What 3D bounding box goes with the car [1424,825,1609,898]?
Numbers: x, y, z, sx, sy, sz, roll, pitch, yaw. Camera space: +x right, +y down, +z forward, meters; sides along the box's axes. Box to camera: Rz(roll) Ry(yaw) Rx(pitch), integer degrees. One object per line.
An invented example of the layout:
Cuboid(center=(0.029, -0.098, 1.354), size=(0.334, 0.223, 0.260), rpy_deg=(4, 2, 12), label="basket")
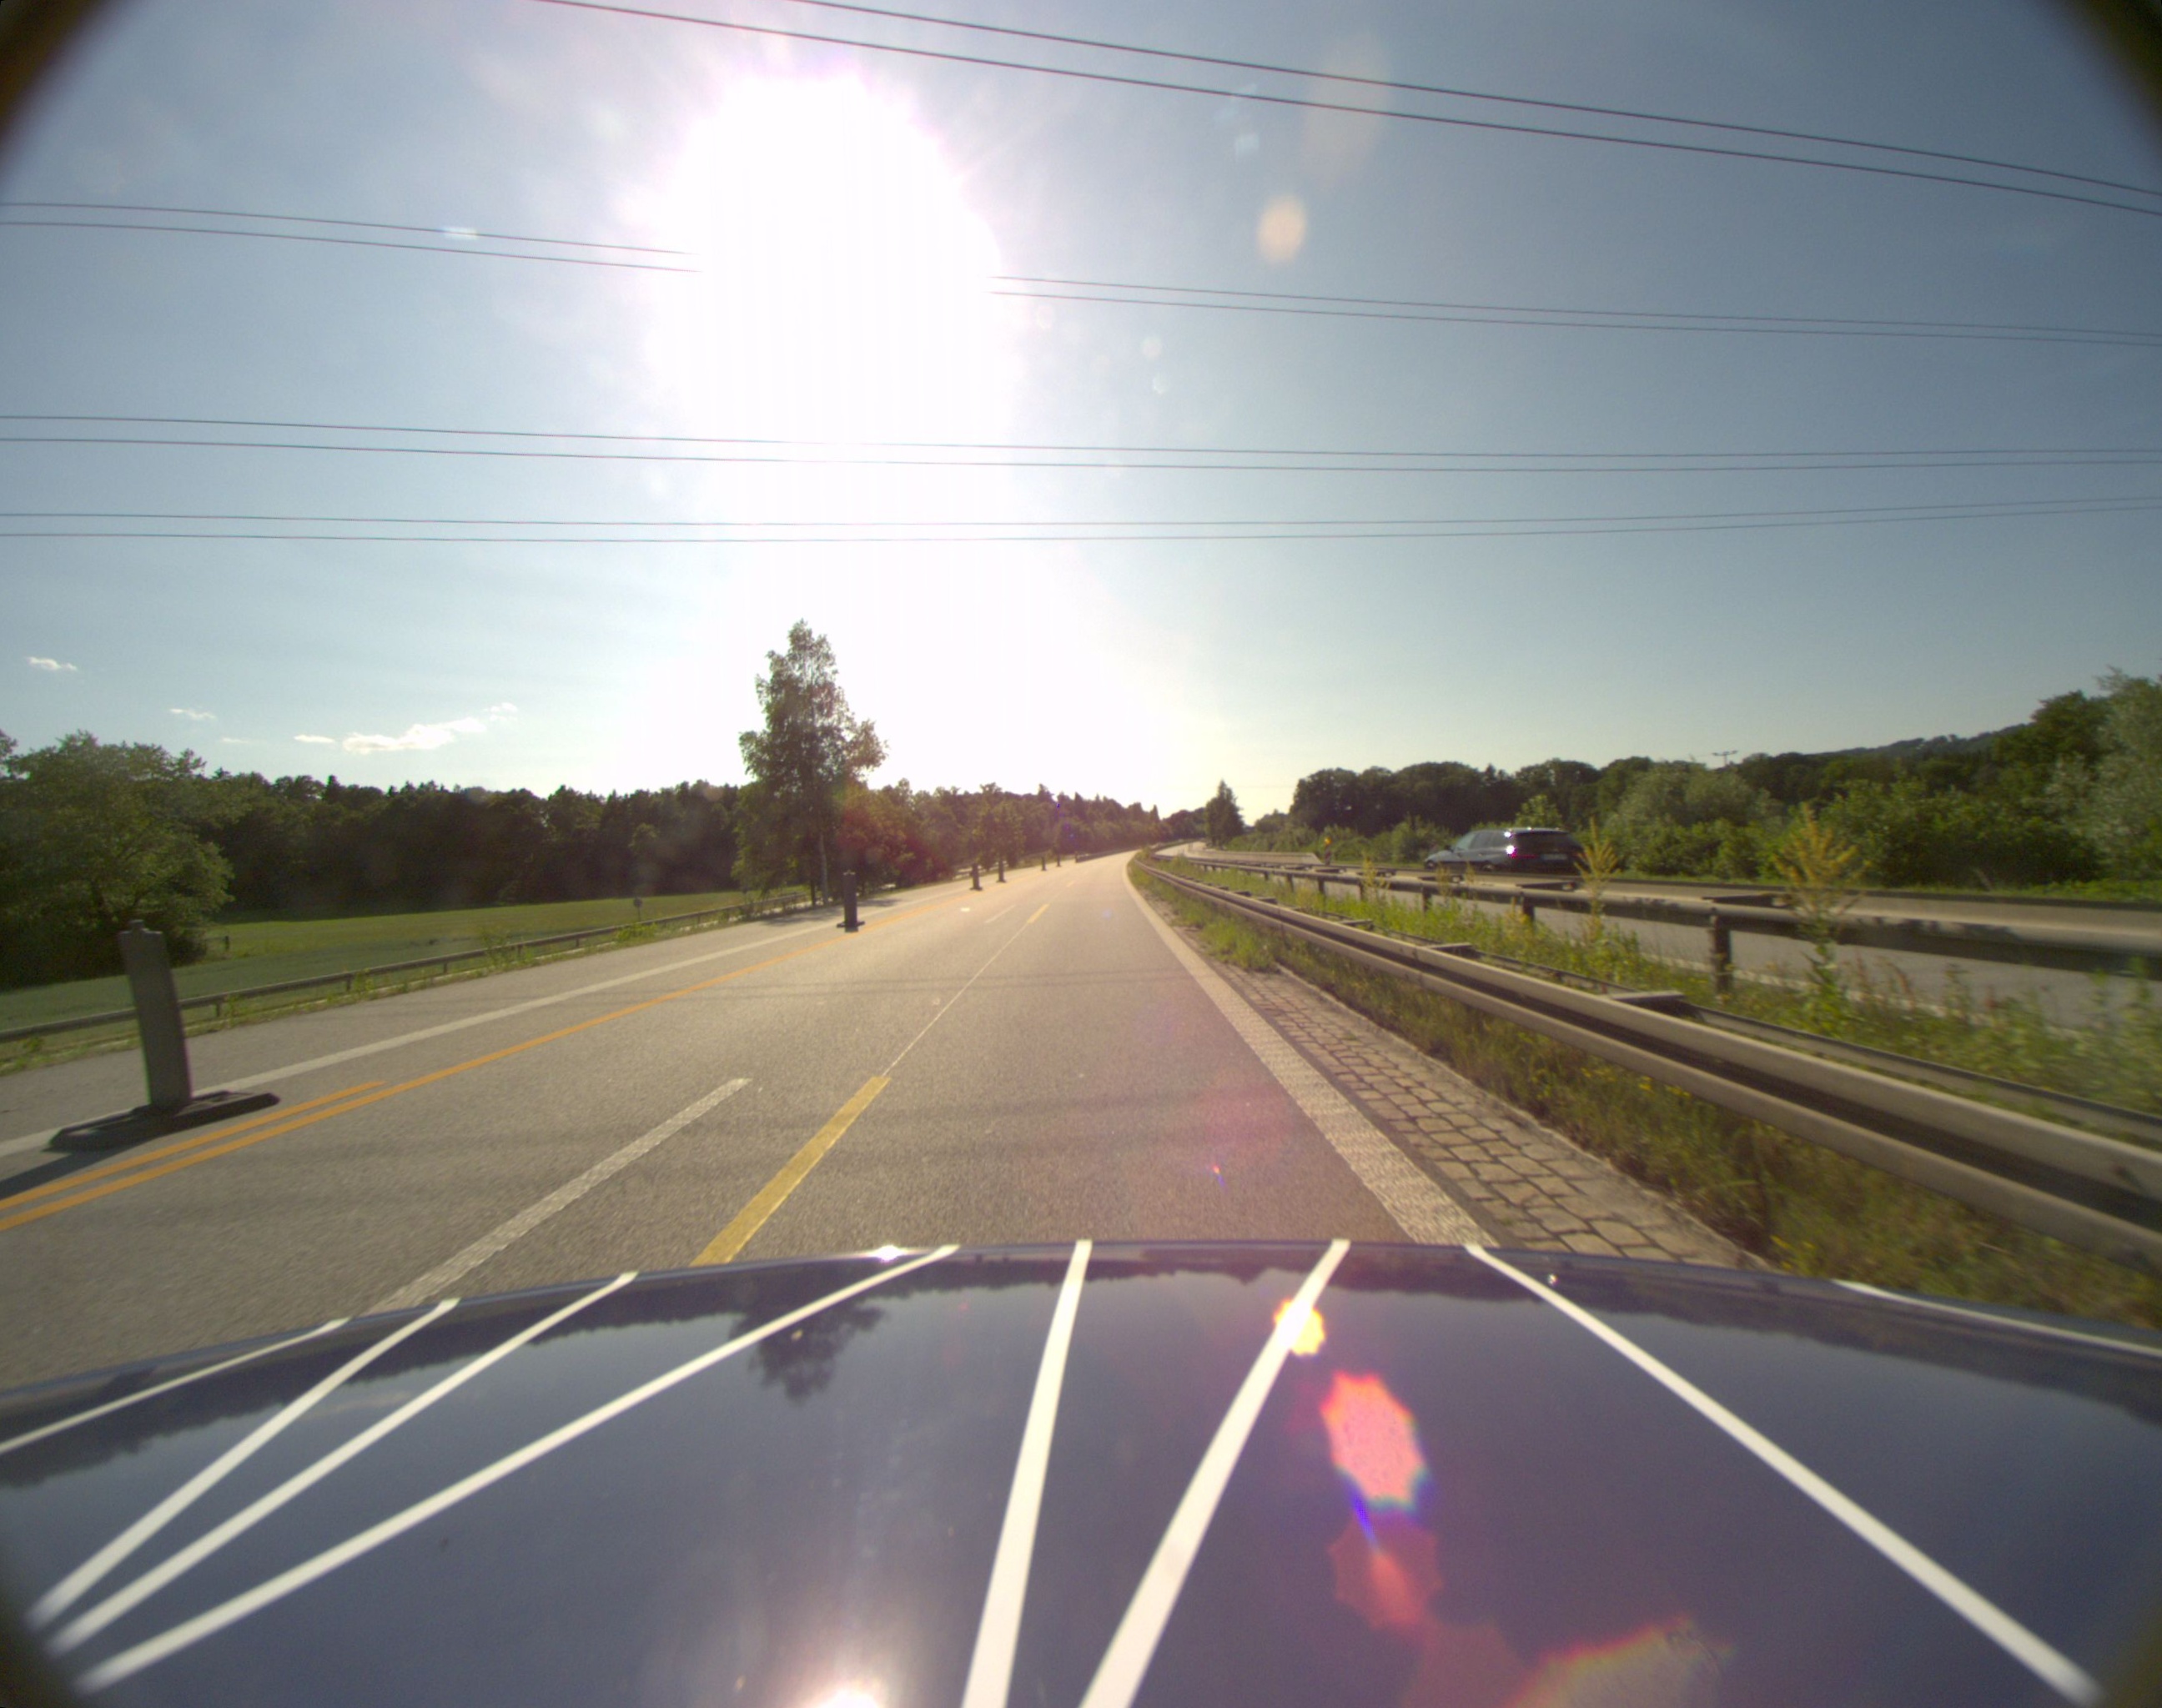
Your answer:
Cuboid(center=(9.649, 0.138, 17.283), size=(1.781, 1.421, 4.269), rpy_deg=(-1, 0, 1), label="car")
